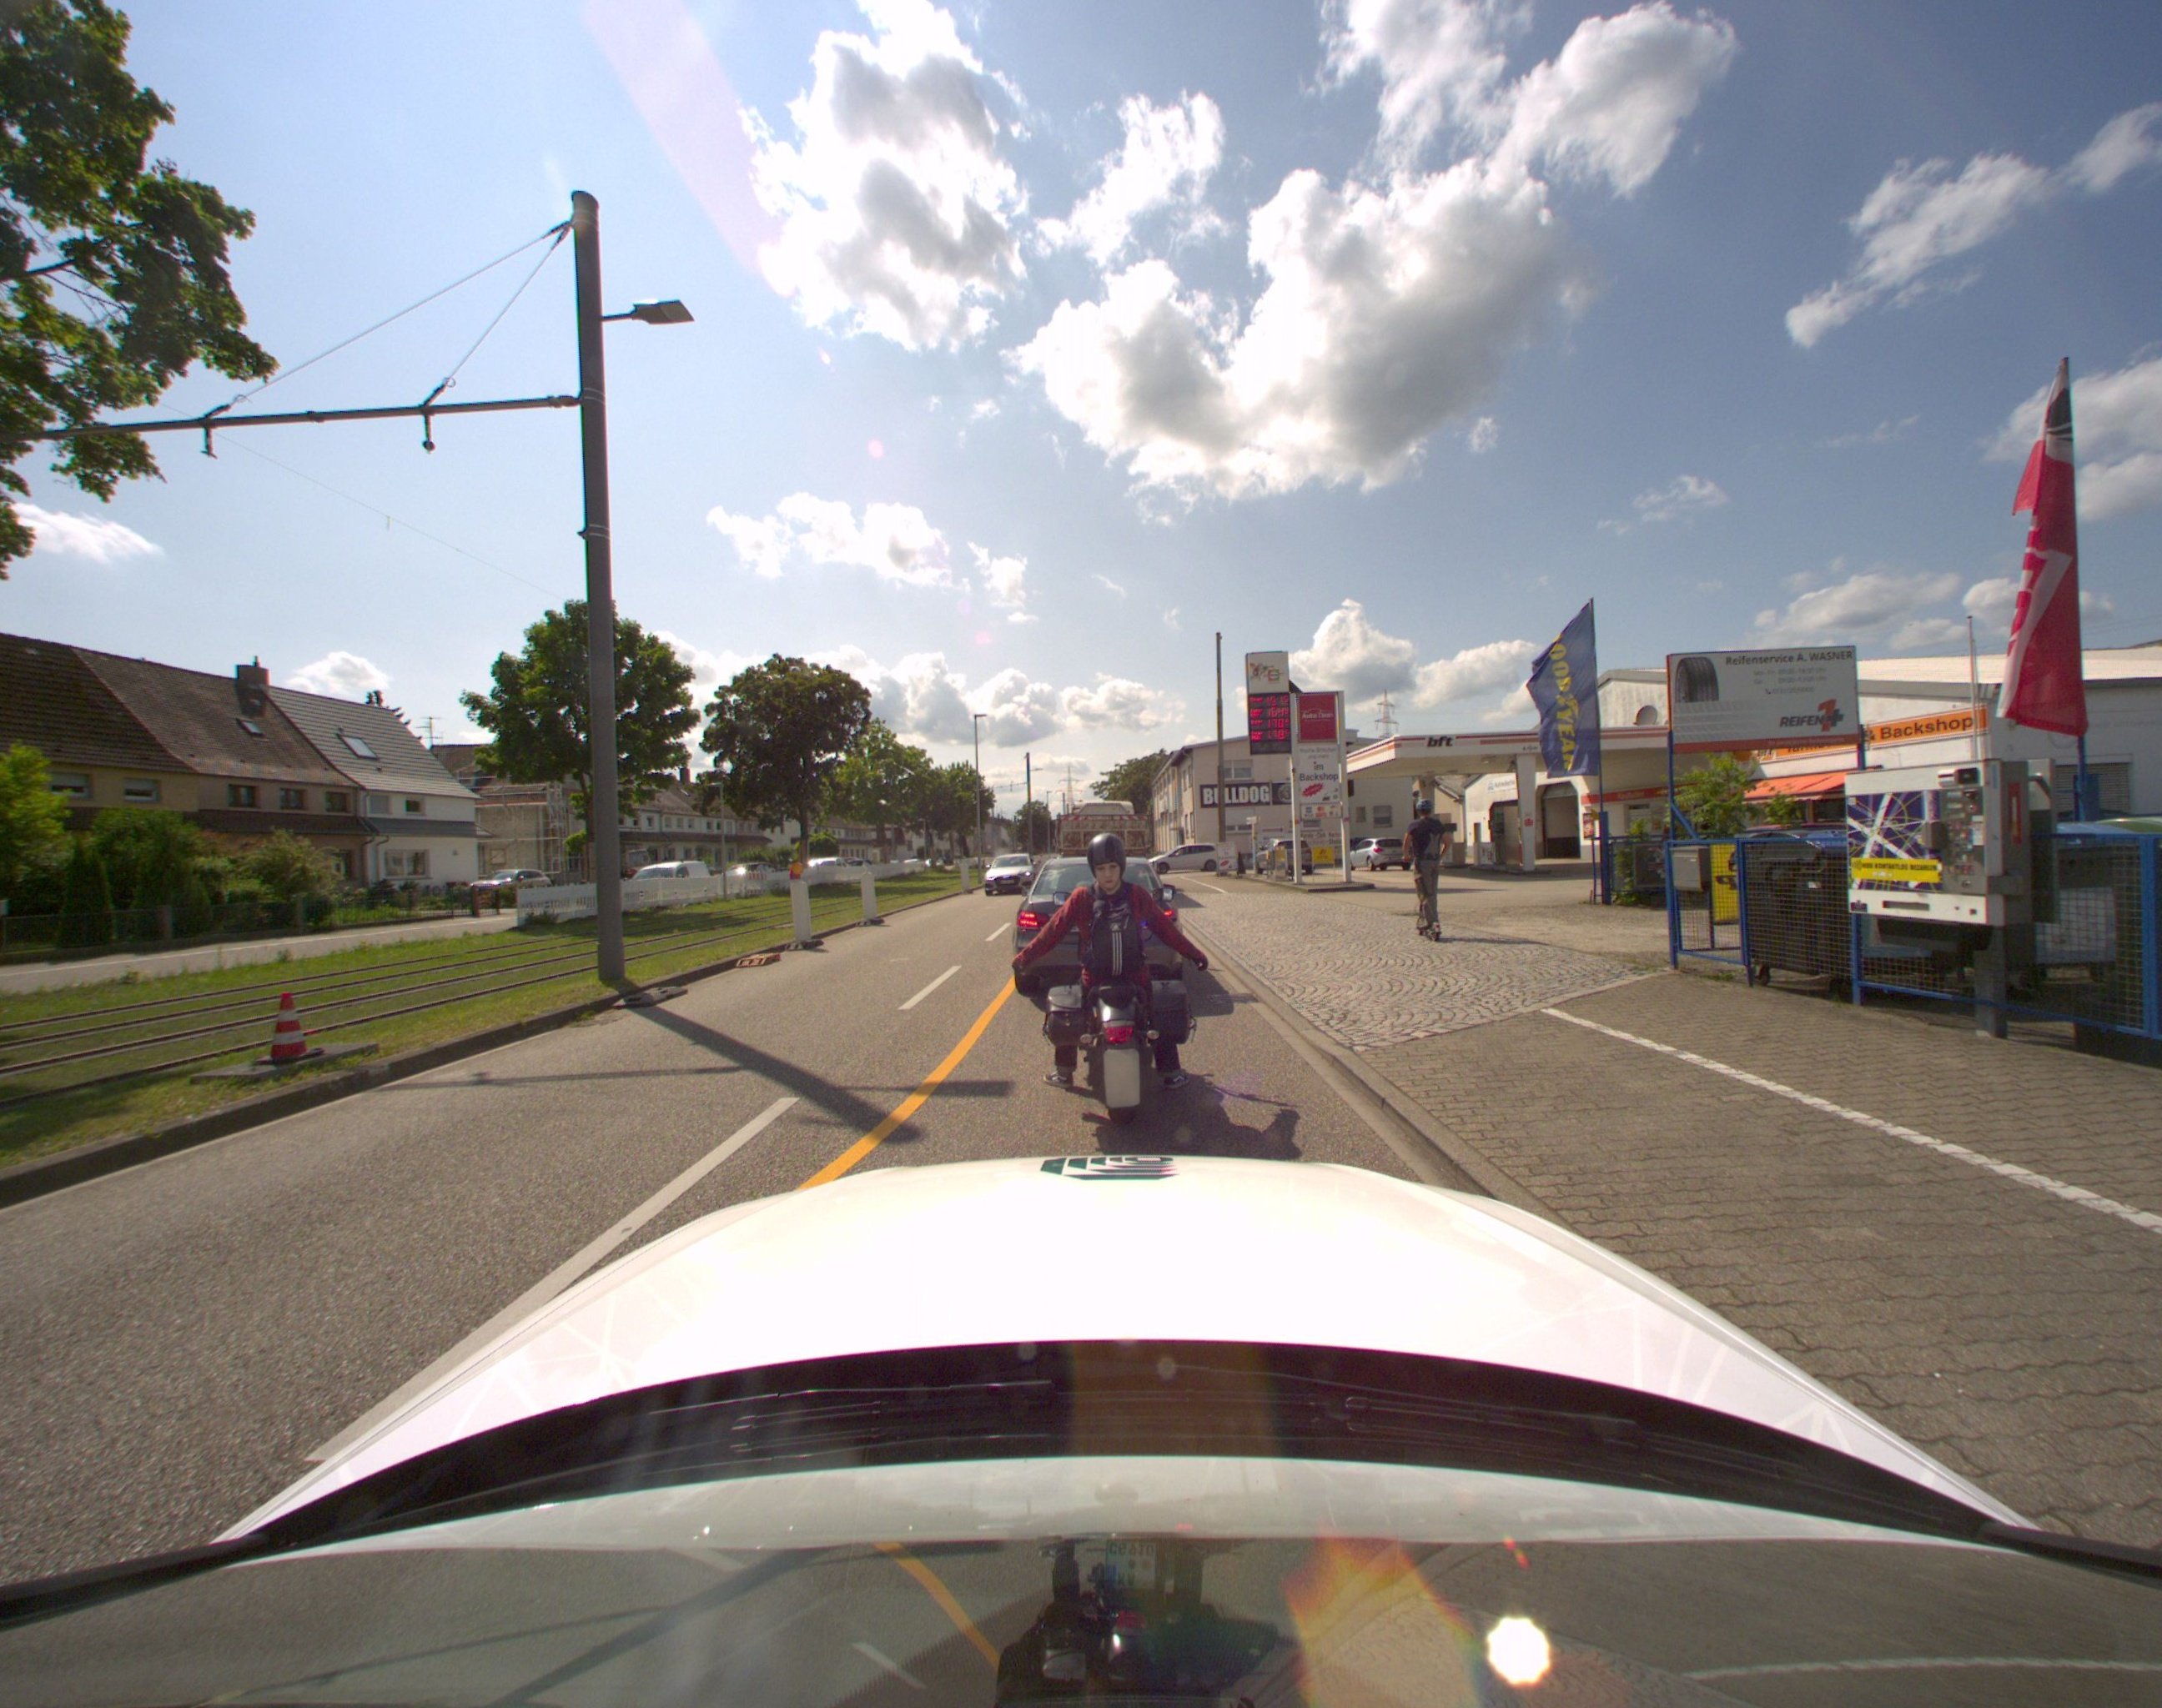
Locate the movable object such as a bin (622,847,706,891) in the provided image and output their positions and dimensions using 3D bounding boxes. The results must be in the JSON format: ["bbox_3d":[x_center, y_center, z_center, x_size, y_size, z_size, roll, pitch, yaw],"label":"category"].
[{"bbox_3d":[-26.075,0.916,51.092,4.351,2.449,1.776,-3,0,-21],"label":"movable object such as a bin"}]

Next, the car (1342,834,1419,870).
[{"bbox_3d":[13.566,-0.068,37.115,1.953,1.420,3.999,-3,0,0],"label":"car"}]

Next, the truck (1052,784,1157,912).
[{"bbox_3d":[0.814,-0.265,26.189,2.600,3.255,9.188,-3,1,2],"label":"truck"}]

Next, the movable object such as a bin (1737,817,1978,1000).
[{"bbox_3d":[6.757,0.452,7.154,1.251,1.444,0.824,-3,-1,2],"label":"movable object such as a bin"}]

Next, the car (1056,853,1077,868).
[{"bbox_3d":[-1.432,0.610,81.876,1.840,1.386,4.345,-3,0,1],"label":"car"}]

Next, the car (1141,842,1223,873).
[{"bbox_3d":[5.805,0.190,47.230,4.326,1.551,1.945,-3,-1,-7],"label":"car"}]

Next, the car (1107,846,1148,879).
[{"bbox_3d":[2.190,0.379,39.029,1.814,1.464,4.002,-2,0,2],"label":"car"}]

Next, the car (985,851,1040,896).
[{"bbox_3d":[-2.492,0.668,30.571,1.649,1.447,4.302,-3,0,0],"label":"car"}]

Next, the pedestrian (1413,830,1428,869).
[{"bbox_3d":[14.779,-0.203,35.432,0.395,1.689,0.486,-3,-1,3],"label":"pedestrian"}]

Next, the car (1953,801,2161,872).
[{"bbox_3d":[21.860,-0.387,17.943,3.483,1.360,1.612,-3,-1,1],"label":"car"}]

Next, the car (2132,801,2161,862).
[{"bbox_3d":[26.370,-0.621,17.996,3.992,1.388,1.613,-3,-1,3],"label":"car"}]

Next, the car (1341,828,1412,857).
[{"bbox_3d":[19.571,-0.728,54.107,3.973,1.648,1.966,-3,-1,1],"label":"car"}]

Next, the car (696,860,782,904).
[{"bbox_3d":[-15.261,1.198,36.616,1.986,1.750,4.001,-3,0,2],"label":"car"}]

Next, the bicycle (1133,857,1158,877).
[{"bbox_3d":[4.627,0.922,58.389,0.686,1.361,2.434,-3,0,33],"label":"bicycle"}]

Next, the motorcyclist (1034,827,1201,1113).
[{"bbox_3d":[0.224,0.655,5.197,0.936,1.615,1.205,0,0,1],"label":"motorcyclist"}]

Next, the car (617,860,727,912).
[{"bbox_3d":[-15.510,1.175,31.156,1.986,1.750,4.001,-3,0,2],"label":"car"}]

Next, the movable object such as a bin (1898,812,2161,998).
[{"bbox_3d":[8.125,0.415,7.016,1.251,1.444,0.824,-3,-1,2],"label":"movable object such as a bin"}]

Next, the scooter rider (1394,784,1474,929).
[{"bbox_3d":[4.970,0.038,11.524,0.714,1.963,0.785,-3,-1,1],"label":"scooter rider"}]

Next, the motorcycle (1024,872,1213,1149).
[{"bbox_3d":[0.227,0.808,5.378,0.936,1.320,2.646,0,0,2],"label":"motorcycle"}]

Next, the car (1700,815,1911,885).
[{"bbox_3d":[16.455,-0.084,18.623,3.308,1.360,1.612,-3,-1,1],"label":"car"}]

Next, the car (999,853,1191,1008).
[{"bbox_3d":[0.195,0.738,9.856,1.815,1.424,4.002,-2,0,2],"label":"car"}]

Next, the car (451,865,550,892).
[{"bbox_3d":[-27.501,1.133,38.741,1.678,1.052,3.982,-3,0,2],"label":"car"}]

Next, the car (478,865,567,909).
[{"bbox_3d":[-24.396,1.423,35.684,1.678,1.721,3.031,-3,0,2],"label":"car"}]

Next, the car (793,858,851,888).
[{"bbox_3d":[-15.192,1.090,47.998,1.986,1.606,4.001,-3,0,2],"label":"car"}]

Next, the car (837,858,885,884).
[{"bbox_3d":[-14.959,1.129,55.643,1.986,1.606,4.001,-3,0,2],"label":"car"}]

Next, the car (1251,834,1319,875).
[{"bbox_3d":[9.049,0.045,36.488,1.953,1.648,3.999,-3,0,0],"label":"car"}]

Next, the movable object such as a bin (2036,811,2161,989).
[{"bbox_3d":[9.447,0.355,7.016,1.318,1.444,0.953,-3,-1,-6],"label":"movable object such as a bin"}]

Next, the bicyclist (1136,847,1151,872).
[{"bbox_3d":[4.478,0.359,58.179,0.665,1.744,0.819,-2,0,42],"label":"bicyclist"}]

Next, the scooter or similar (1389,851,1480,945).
[{"bbox_3d":[4.917,0.575,11.424,0.538,1.195,1.611,-3,0,1],"label":"scooter or similar"}]
